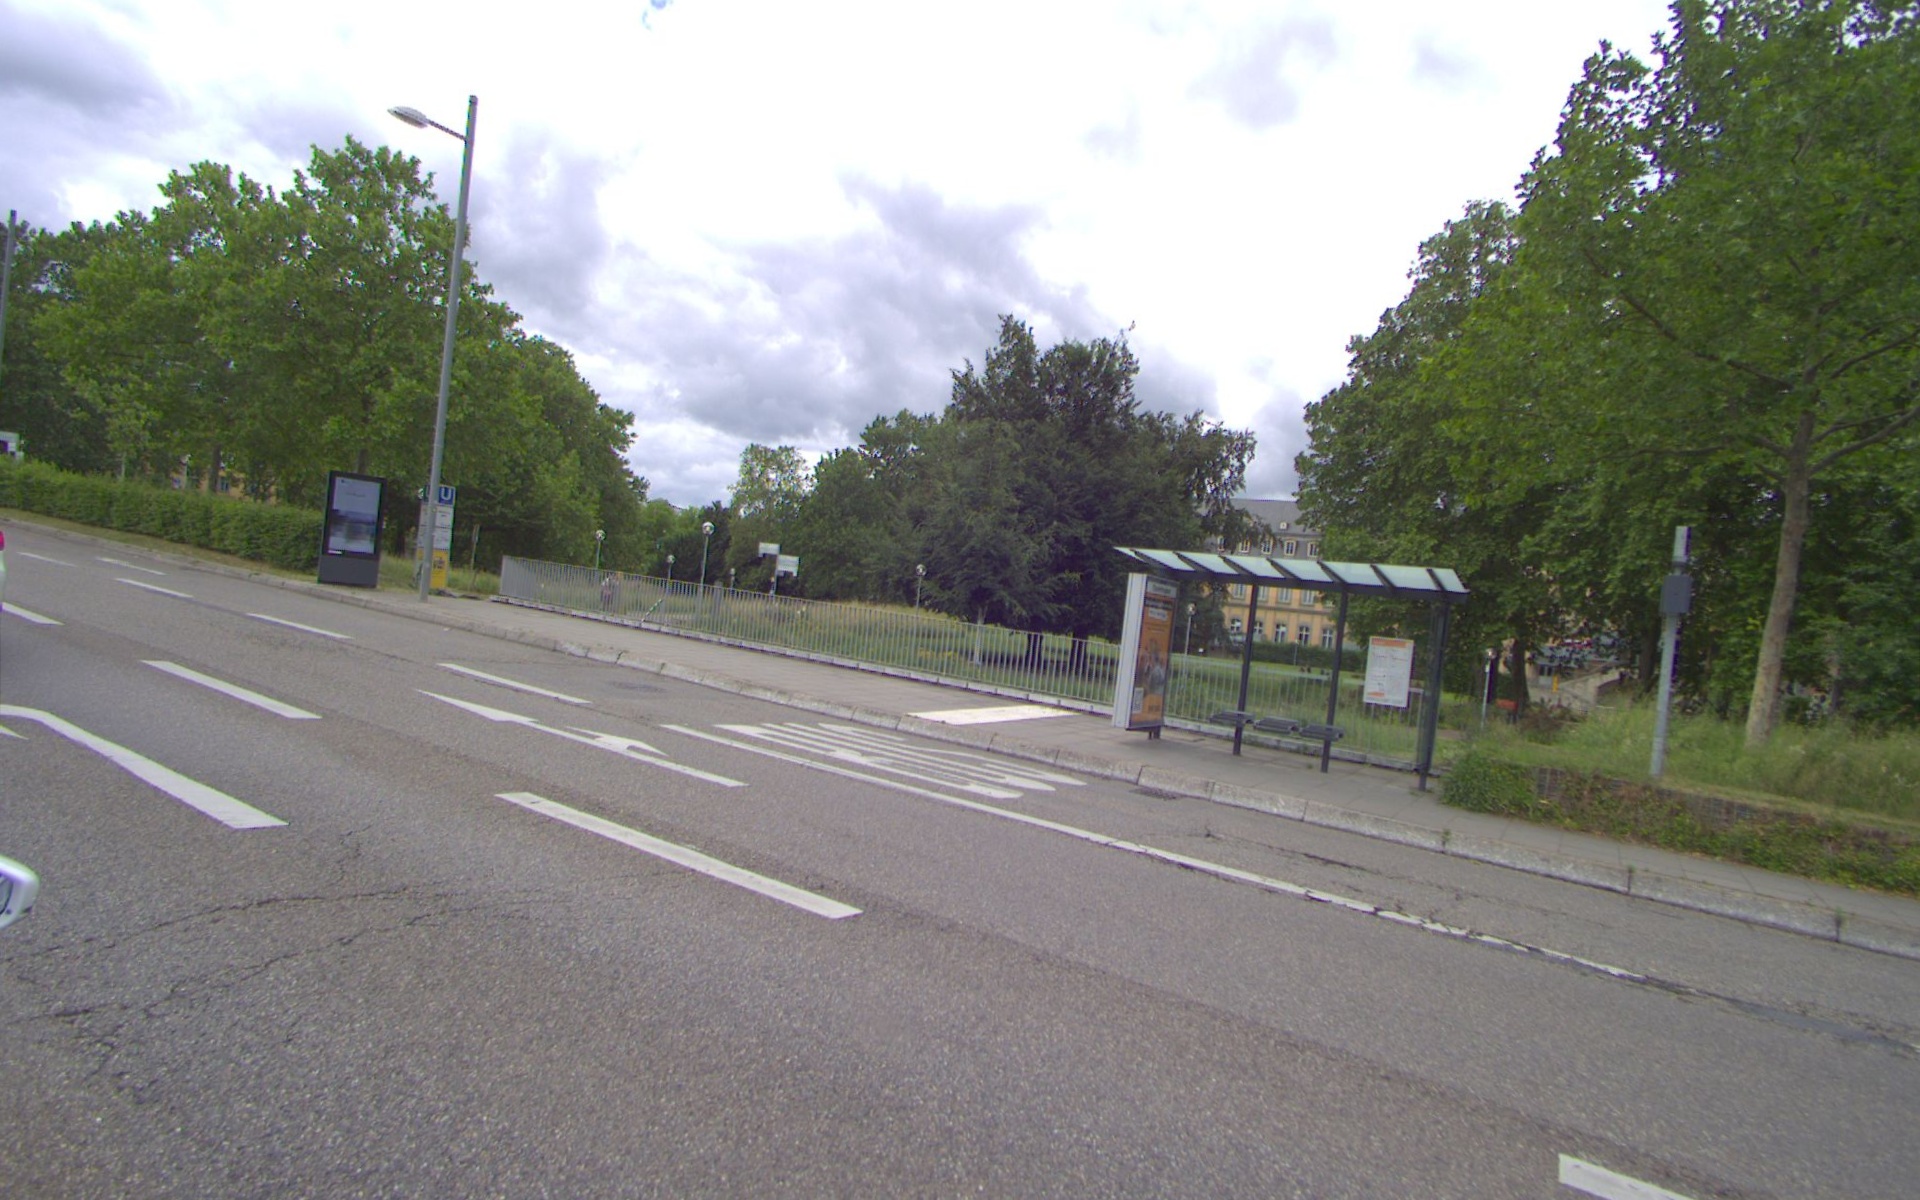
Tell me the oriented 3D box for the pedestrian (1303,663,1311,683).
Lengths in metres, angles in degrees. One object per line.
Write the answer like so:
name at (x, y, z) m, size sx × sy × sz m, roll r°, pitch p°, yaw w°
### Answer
pedestrian at (31.892, 6.683, 92.462) m, size 0.460 × 1.756 × 0.405 m, roll 6°, pitch -2°, yaw 32°

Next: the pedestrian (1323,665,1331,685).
pedestrian at (33.329, 6.843, 91.419) m, size 0.460 × 1.725 × 0.405 m, roll 6°, pitch -2°, yaw 32°

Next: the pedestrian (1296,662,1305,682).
pedestrian at (31.254, 6.589, 92.316) m, size 0.460 × 1.756 × 0.405 m, roll 6°, pitch -2°, yaw 32°

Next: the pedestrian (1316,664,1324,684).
pedestrian at (32.612, 6.712, 91.073) m, size 0.460 × 1.756 × 0.405 m, roll 6°, pitch -2°, yaw 32°

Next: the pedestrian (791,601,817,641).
pedestrian at (-6.771, 0.924, 43.597) m, size 0.653 × 1.619 × 0.676 m, roll 9°, pitch -2°, yaw -40°

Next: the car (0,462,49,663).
car at (-10.268, -0.612, 9.033) m, size 4.416 × 1.673 × 1.929 m, roll 7°, pitch 0°, yaw 33°
